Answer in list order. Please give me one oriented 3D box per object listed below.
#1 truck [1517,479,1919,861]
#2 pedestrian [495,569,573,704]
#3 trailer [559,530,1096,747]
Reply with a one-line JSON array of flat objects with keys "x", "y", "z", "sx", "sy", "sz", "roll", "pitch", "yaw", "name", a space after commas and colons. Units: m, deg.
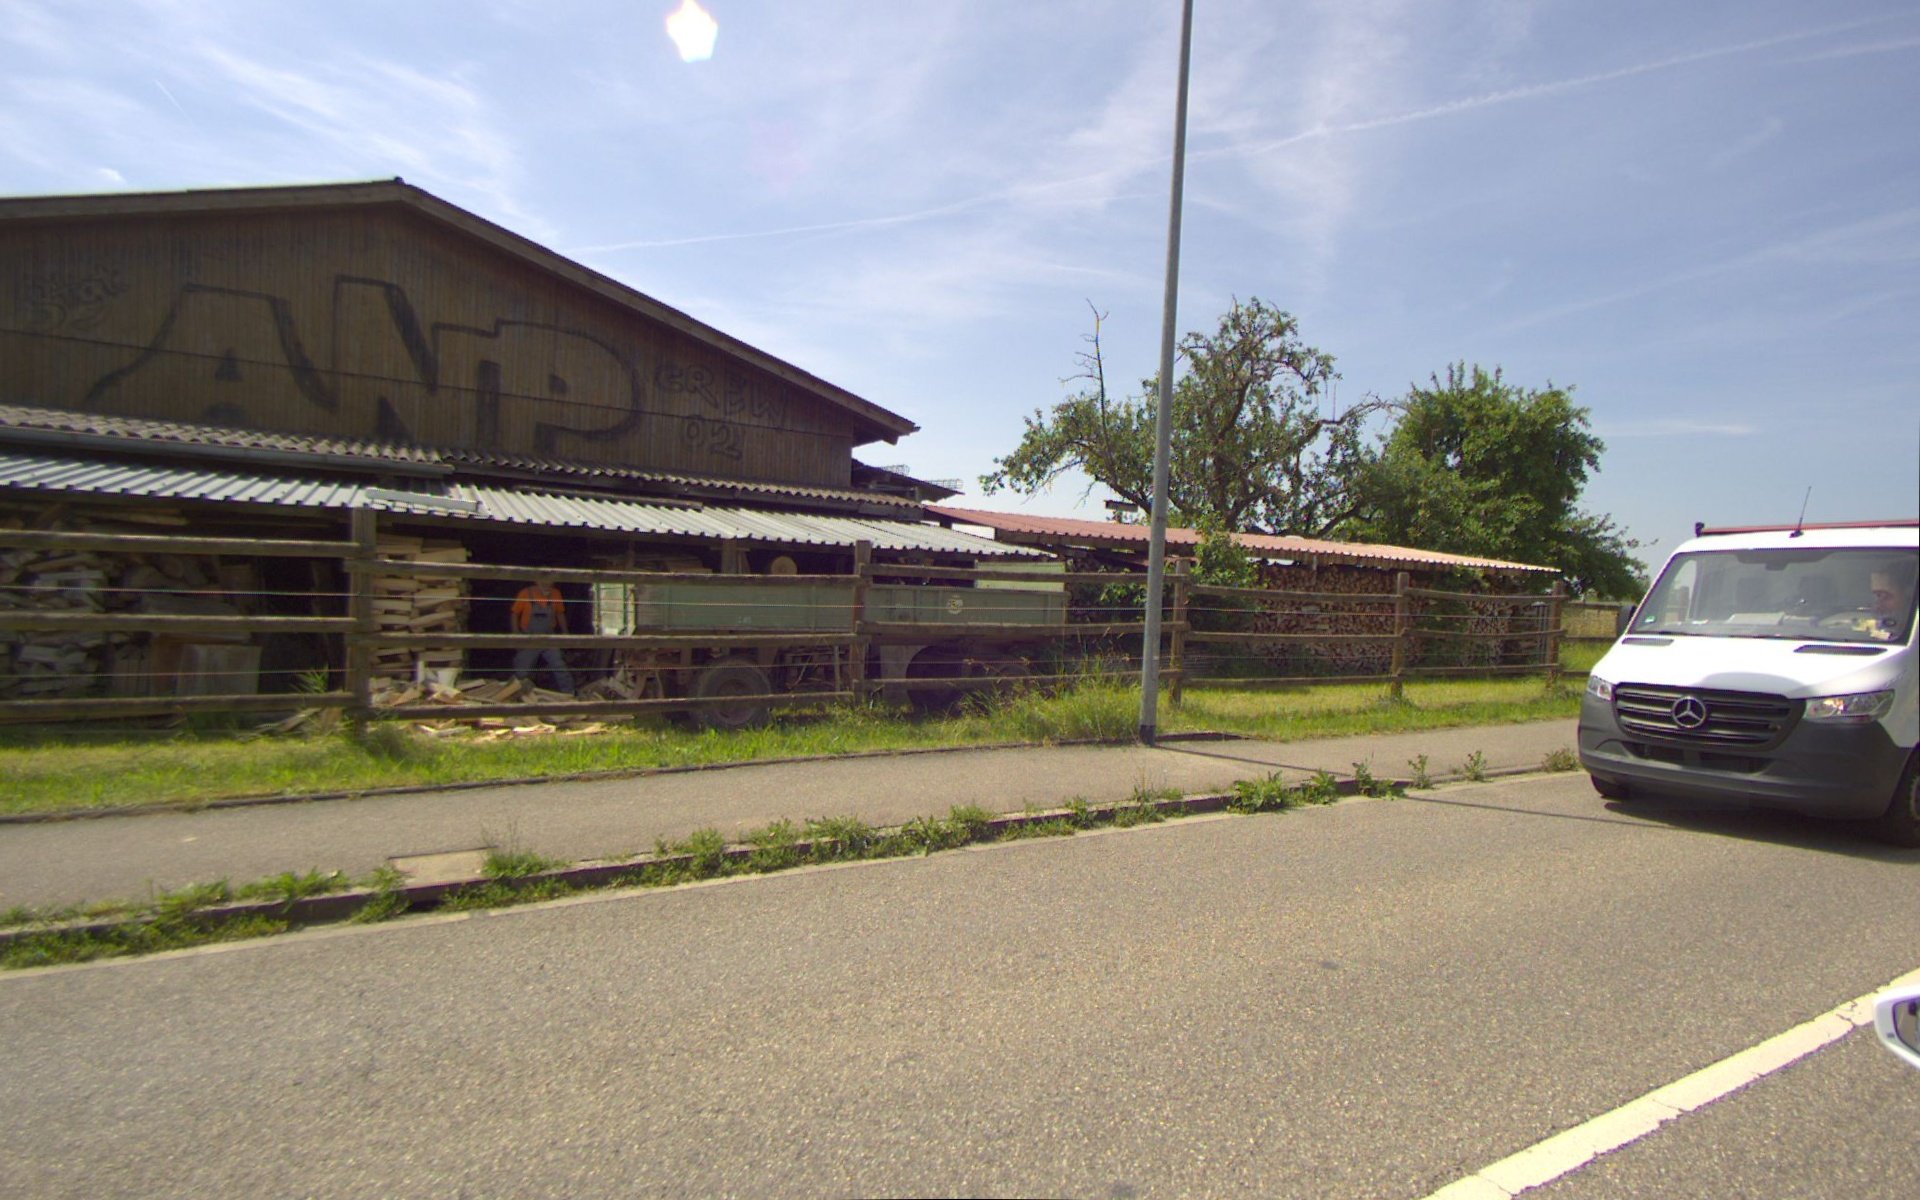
[{"x": 7.763, "y": 0.492, "z": 8.749, "sx": 6.419, "sy": 2.324, "sz": 2.210, "roll": 2, "pitch": 0, "yaw": -32, "name": "truck"}, {"x": -4.655, "y": 0.387, "z": 10.983, "sx": 0.733, "sy": 1.426, "sz": 0.585, "roll": 1, "pitch": 1, "yaw": -24, "name": "pedestrian"}, {"x": -1.253, "y": 0.347, "z": 10.201, "sx": 4.971, "sy": 1.726, "sz": 2.144, "roll": 1, "pitch": 0, "yaw": -31, "name": "trailer"}]
